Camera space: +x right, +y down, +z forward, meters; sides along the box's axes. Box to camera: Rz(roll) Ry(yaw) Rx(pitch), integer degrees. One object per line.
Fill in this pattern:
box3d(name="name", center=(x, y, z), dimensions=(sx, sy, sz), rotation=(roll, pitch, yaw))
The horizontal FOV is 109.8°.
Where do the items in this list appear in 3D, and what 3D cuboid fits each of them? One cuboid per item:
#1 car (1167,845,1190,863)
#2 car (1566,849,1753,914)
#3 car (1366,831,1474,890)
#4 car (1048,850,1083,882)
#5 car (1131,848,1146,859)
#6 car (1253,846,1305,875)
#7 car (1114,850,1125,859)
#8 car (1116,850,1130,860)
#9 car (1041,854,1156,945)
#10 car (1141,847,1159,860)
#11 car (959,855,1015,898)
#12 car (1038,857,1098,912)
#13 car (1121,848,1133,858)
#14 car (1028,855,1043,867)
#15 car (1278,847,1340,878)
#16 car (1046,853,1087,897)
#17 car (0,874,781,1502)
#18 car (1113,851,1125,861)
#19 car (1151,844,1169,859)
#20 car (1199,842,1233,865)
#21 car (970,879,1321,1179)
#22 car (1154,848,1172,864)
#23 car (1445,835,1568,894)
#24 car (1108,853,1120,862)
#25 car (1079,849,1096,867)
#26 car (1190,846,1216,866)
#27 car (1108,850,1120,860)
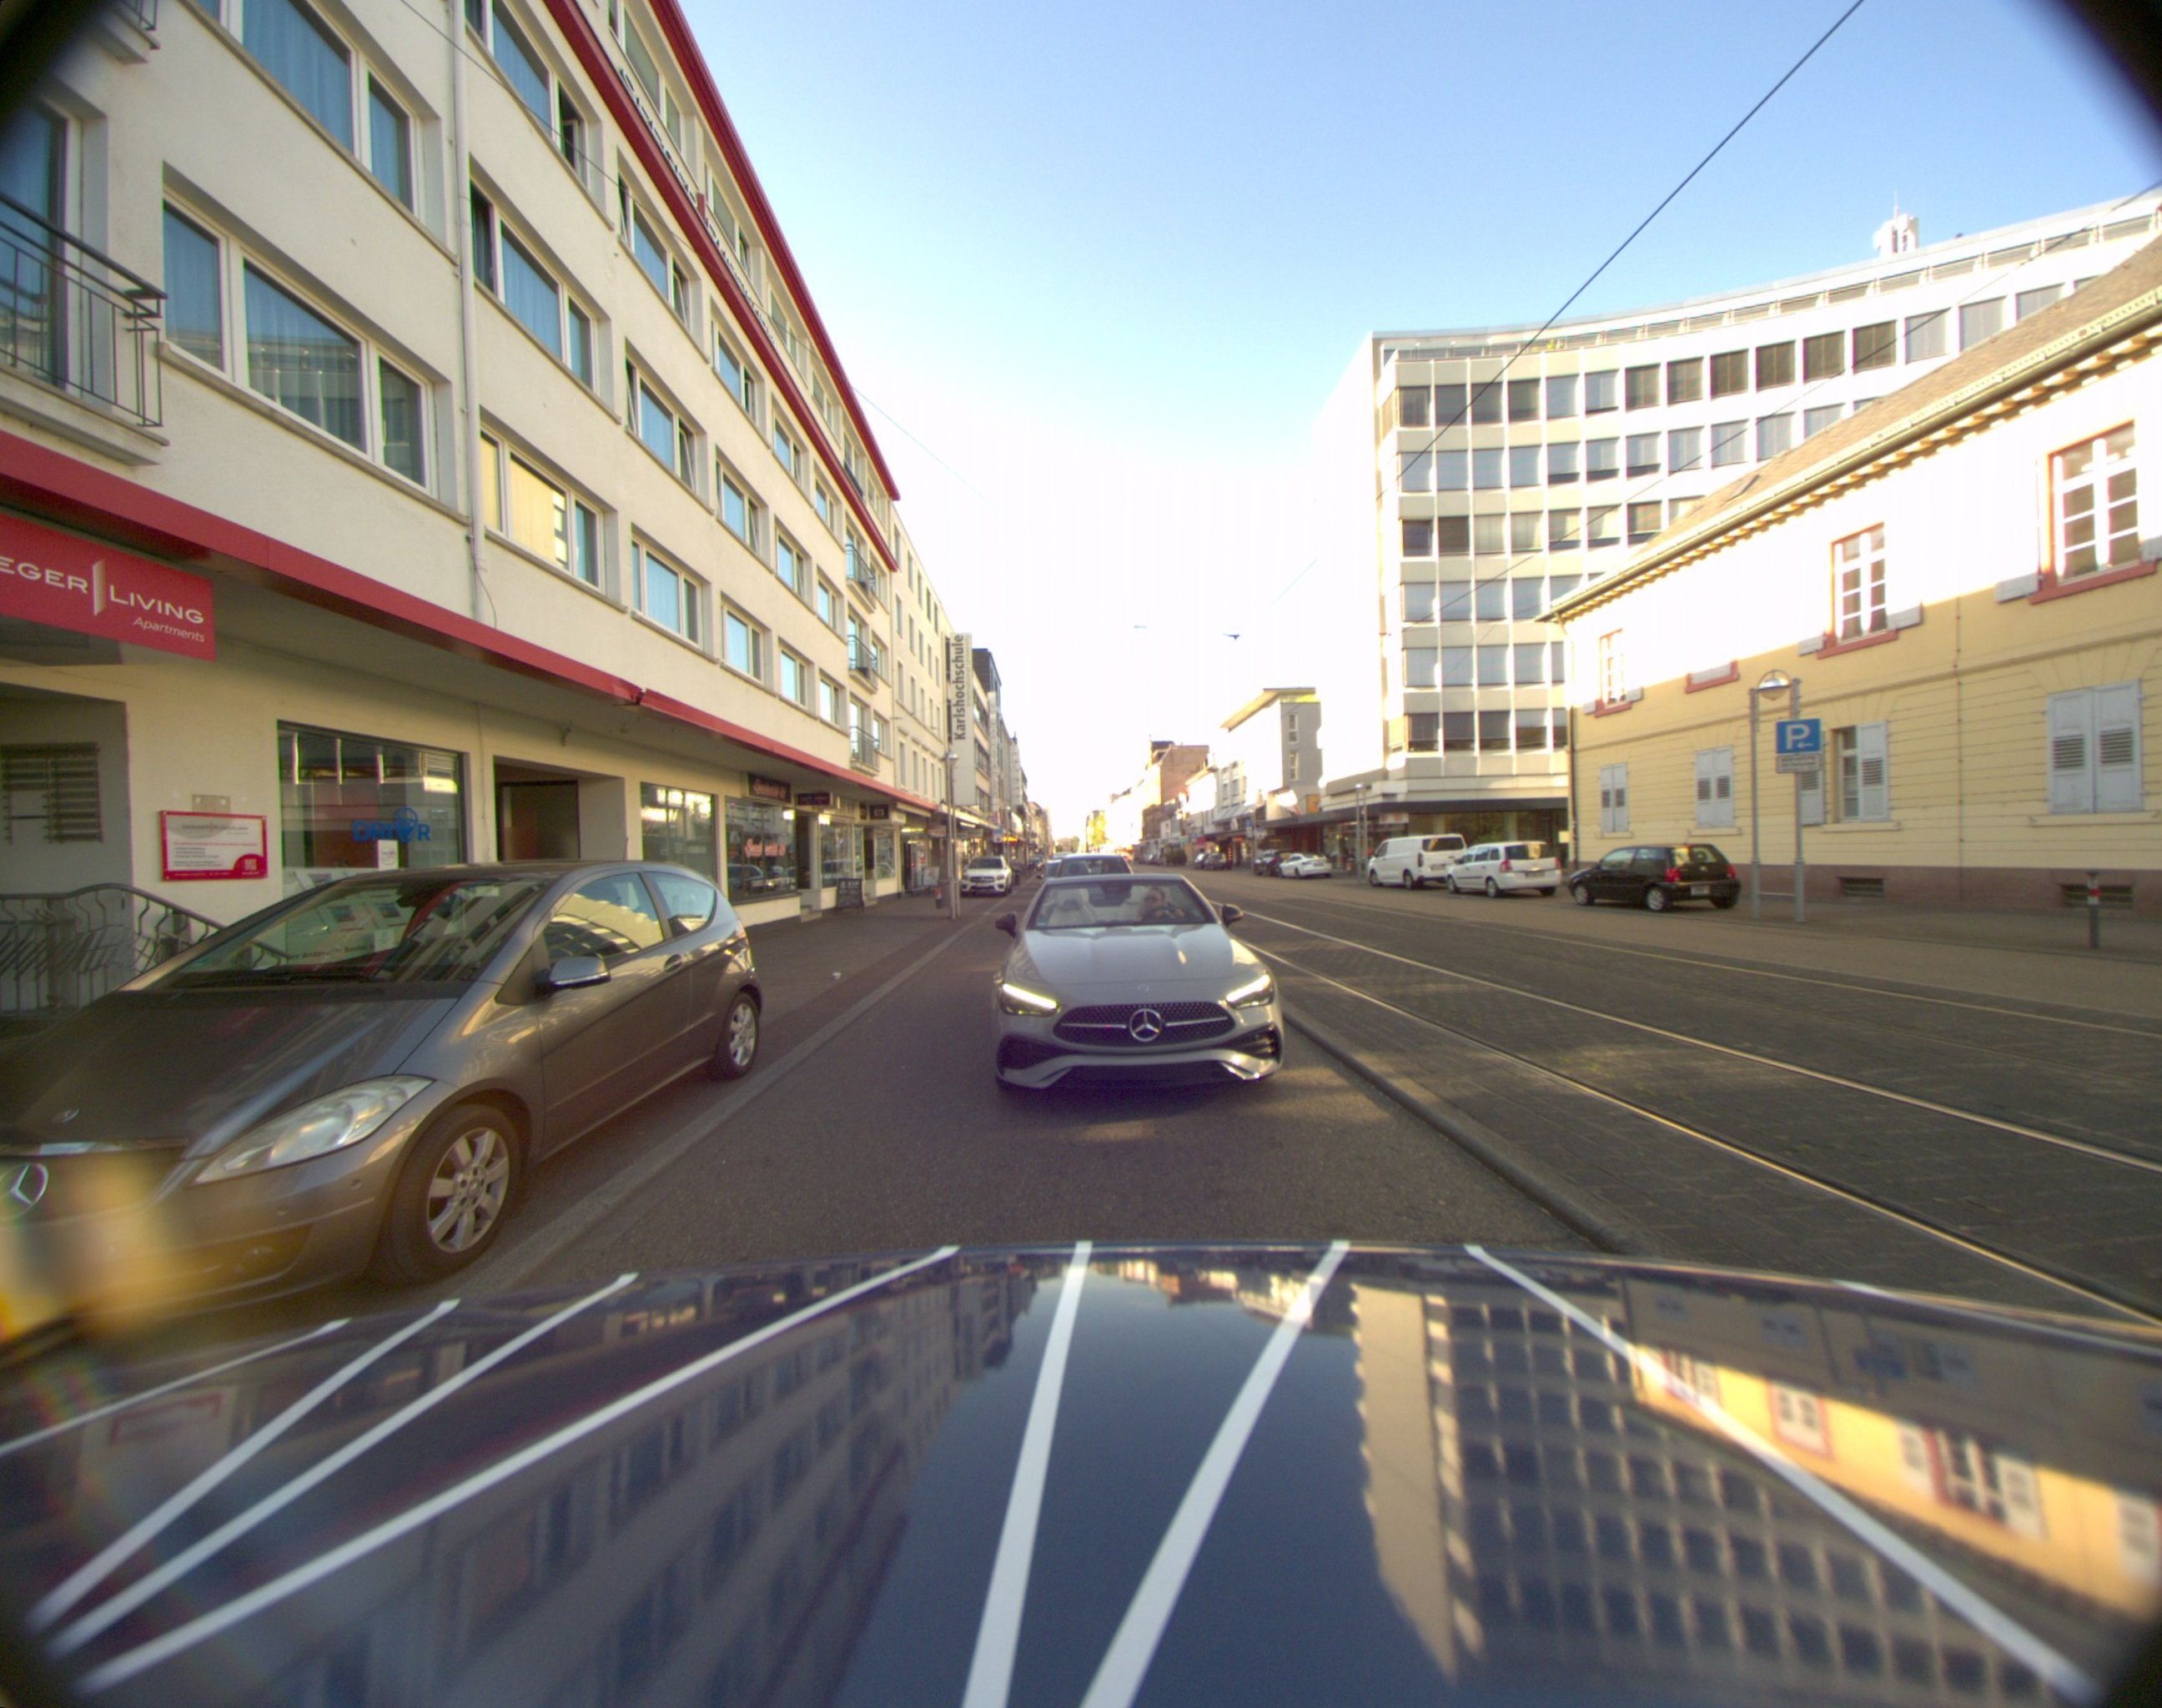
box3d(name="car", center=(11.570, 0.007, 90.417), dimensions=(2.200, 2.030, 3.999), rotation=(-1, 0, -1))
box3d(name="car", center=(12.821, 0.547, 17.085), dimensions=(1.688, 1.246, 3.212), rotation=(-2, 1, -1))
box3d(name="car", center=(12.680, 0.233, 28.773), dimensions=(2.040, 2.002, 4.621), rotation=(-1, 0, 1))
box3d(name="car", center=(-0.945, 0.682, 46.653), dimensions=(1.999, 1.793, 3.999), rotation=(-2, 1, -1))
box3d(name="car", center=(10.150, -0.073, 134.635), dimensions=(1.999, 2.002, 3.999), rotation=(-1, 0, -3))
box3d(name="car", center=(12.327, 0.365, 47.670), dimensions=(1.999, 1.694, 4.107), rotation=(-3, 1, -2))
box3d(name="car", center=(9.045, 0.059, 176.656), dimensions=(2.148, 1.850, 3.998), rotation=(-2, 1, -2))
box3d(name="car", center=(6.613, 0.184, 120.294), dimensions=(1.760, 1.587, 3.999), rotation=(-1, 0, -2))
box3d(name="car", center=(0.216, 0.812, 15.557), dimensions=(1.927, 1.533, 3.998), rotation=(-2, 0, -4))
box3d(name="car", center=(10.832, -0.042, 119.890), dimensions=(1.999, 2.002, 5.320), rotation=(-1, 0, -2))
box3d(name="car", center=(-3.848, 0.891, 31.703), dimensions=(1.999, 1.620, 3.998), rotation=(-1, 0, -4))
box3d(name="car", center=(-0.419, 0.869, 23.561), dimensions=(1.648, 1.506, 3.844), rotation=(-2, 0, -1))
box3d(name="car", center=(9.535, -0.129, 157.319), dimensions=(1.999, 2.002, 3.999), rotation=(-1, 0, -2))
box3d(name="car", center=(-5.723, 0.840, 96.284), dimensions=(1.714, 1.430, 3.756), rotation=(-2, 1, -1))
box3d(name="car", center=(12.587, 0.425, 42.239), dimensions=(1.999, 1.521, 4.373), rotation=(-2, 1, -1))
box3d(name="car", center=(-0.613, 0.818, 31.911), dimensions=(1.573, 1.670, 3.688), rotation=(-2, 1, -1))
box3d(name="car", center=(-3.197, 0.953, 3.983), dimensions=(1.683, 1.537, 3.999), rotation=(-2, 0, -1))
box3d(name="car", center=(7.466, 0.412, 151.223), dimensions=(1.999, 2.002, 3.998), rotation=(-2, 1, -2))
box3d(name="car", center=(11.542, -0.348, 111.286), dimensions=(1.999, 2.002, 3.998), rotation=(-2, 1, -2))
box3d(name="car", center=(11.573, -0.087, 65.512), dimensions=(1.999, 1.849, 3.998), rotation=(-2, 1, -2))
box3d(name="car", center=(0.224, 1.011, 6.142), dimensions=(1.884, 1.375, 3.998), rotation=(-2, 1, -4))
box3d(name="car", center=(10.897, 0.258, 100.845), dimensions=(1.998, 2.002, 4.000), rotation=(-1, 0, 1))
box3d(name="car", center=(12.787, 0.269, 23.132), dimensions=(1.641, 1.600, 4.005), rotation=(-2, 1, 3))
box3d(name="car", center=(5.913, 0.619, 136.716), dimensions=(1.964, 1.499, 4.000), rotation=(-2, 1, 4))
box3d(name="car", center=(0.787, 0.475, 93.291), dimensions=(1.947, 2.002, 3.999), rotation=(-2, 1, -1))
box3d(name="car", center=(11.840, 0.192, 73.965), dimensions=(1.789, 1.870, 3.999), rotation=(-1, 0, -2))
box3d(name="car", center=(6.261, 0.177, 144.116), dimensions=(1.914, 1.883, 3.855), rotation=(-2, 1, -2))
